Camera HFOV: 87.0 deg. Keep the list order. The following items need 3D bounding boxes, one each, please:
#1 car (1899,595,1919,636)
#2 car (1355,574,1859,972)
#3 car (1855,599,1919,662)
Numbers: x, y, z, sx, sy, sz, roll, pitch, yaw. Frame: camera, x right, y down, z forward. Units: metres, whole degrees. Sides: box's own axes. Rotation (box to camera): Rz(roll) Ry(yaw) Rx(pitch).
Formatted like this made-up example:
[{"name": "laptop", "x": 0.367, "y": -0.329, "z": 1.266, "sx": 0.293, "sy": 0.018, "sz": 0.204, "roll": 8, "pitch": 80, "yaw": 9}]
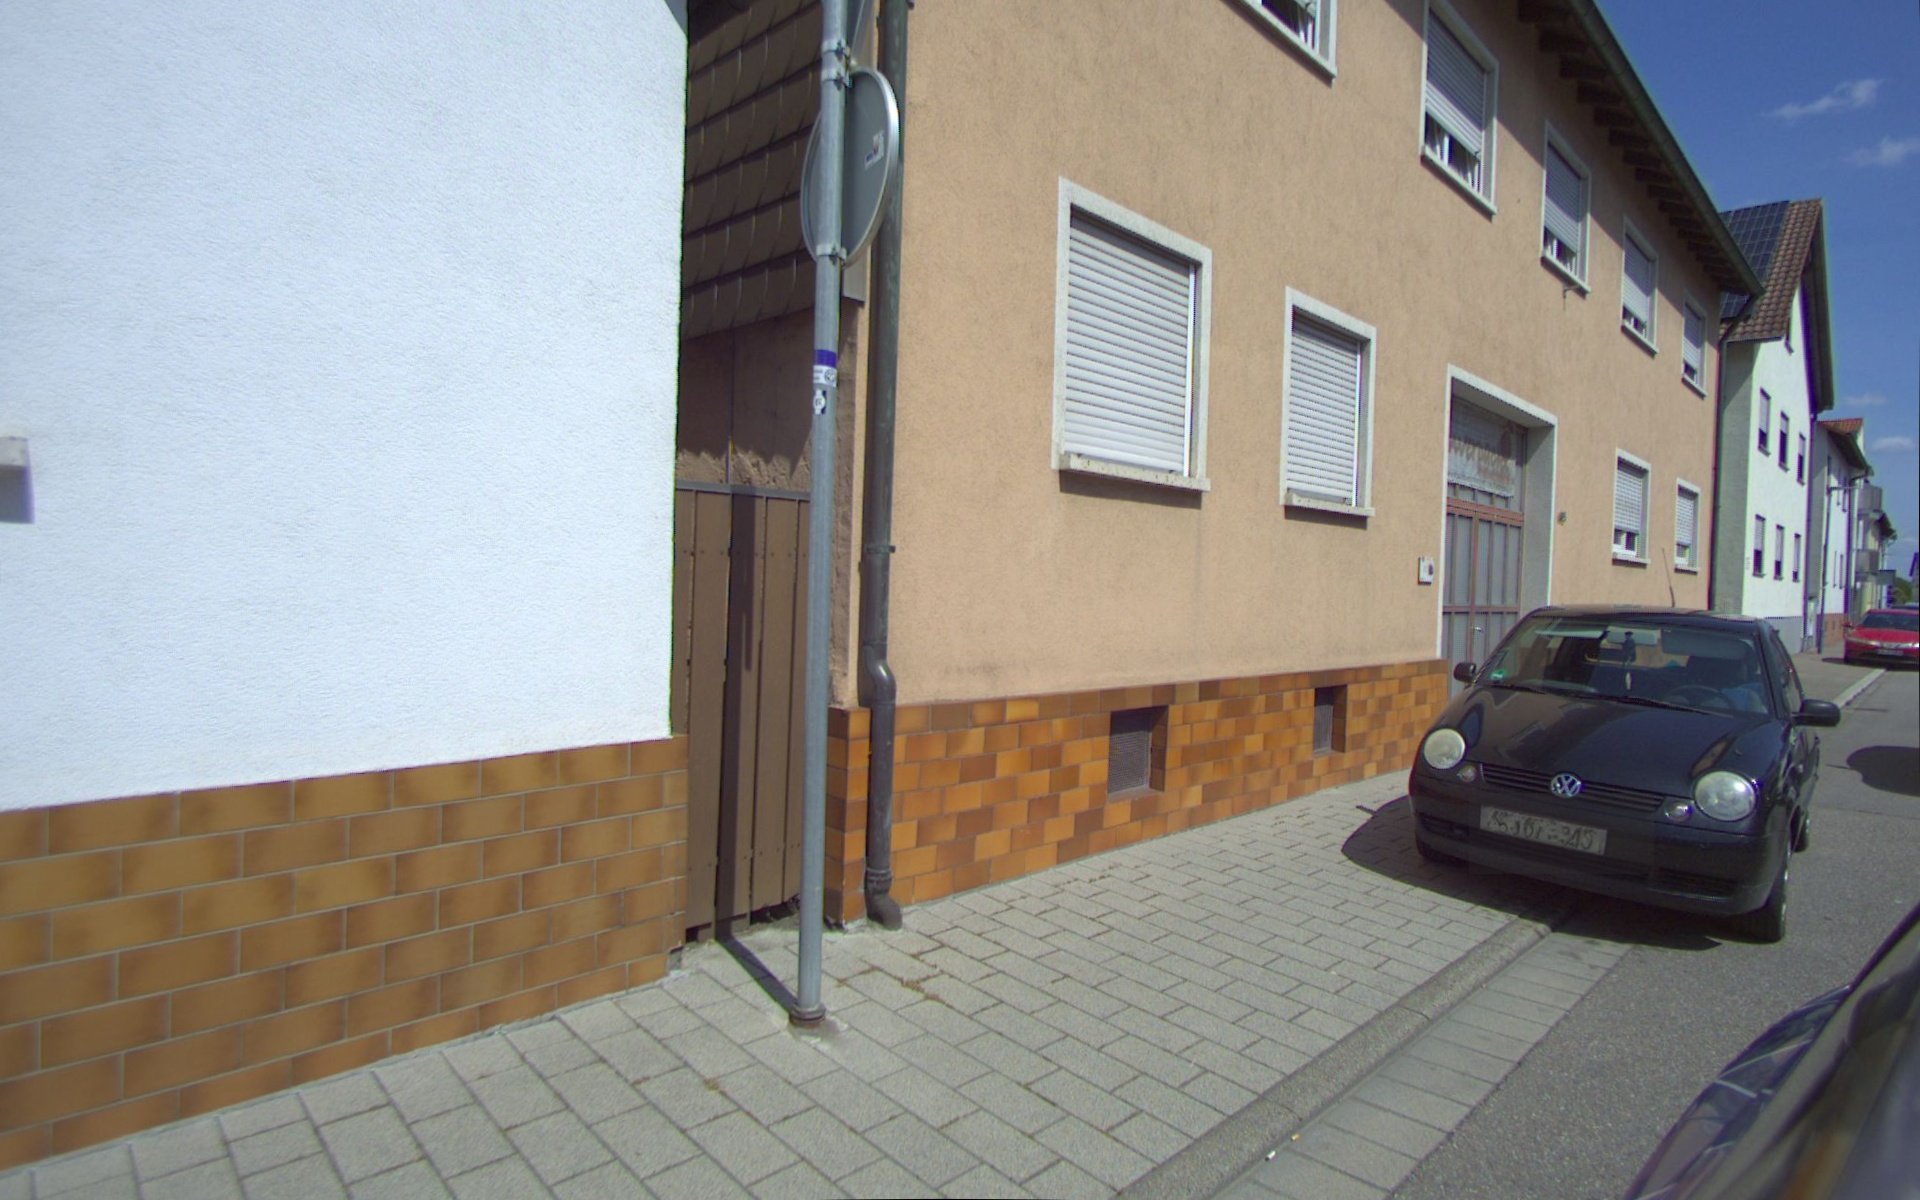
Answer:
[{"name": "car", "x": 36.199, "y": 0.604, "z": 37.596, "sx": 1.761, "sy": 1.446, "sz": 4.121, "roll": 3, "pitch": 2, "yaw": 44}, {"name": "car", "x": 3.913, "y": 0.687, "z": 5.866, "sx": 1.687, "sy": 1.481, "sz": 3.570, "roll": 6, "pitch": 3, "yaw": 44}, {"name": "car", "x": 24.153, "y": 0.763, "z": 25.789, "sx": 1.761, "sy": 1.446, "sz": 4.121, "roll": 3, "pitch": 2, "yaw": 44}]
